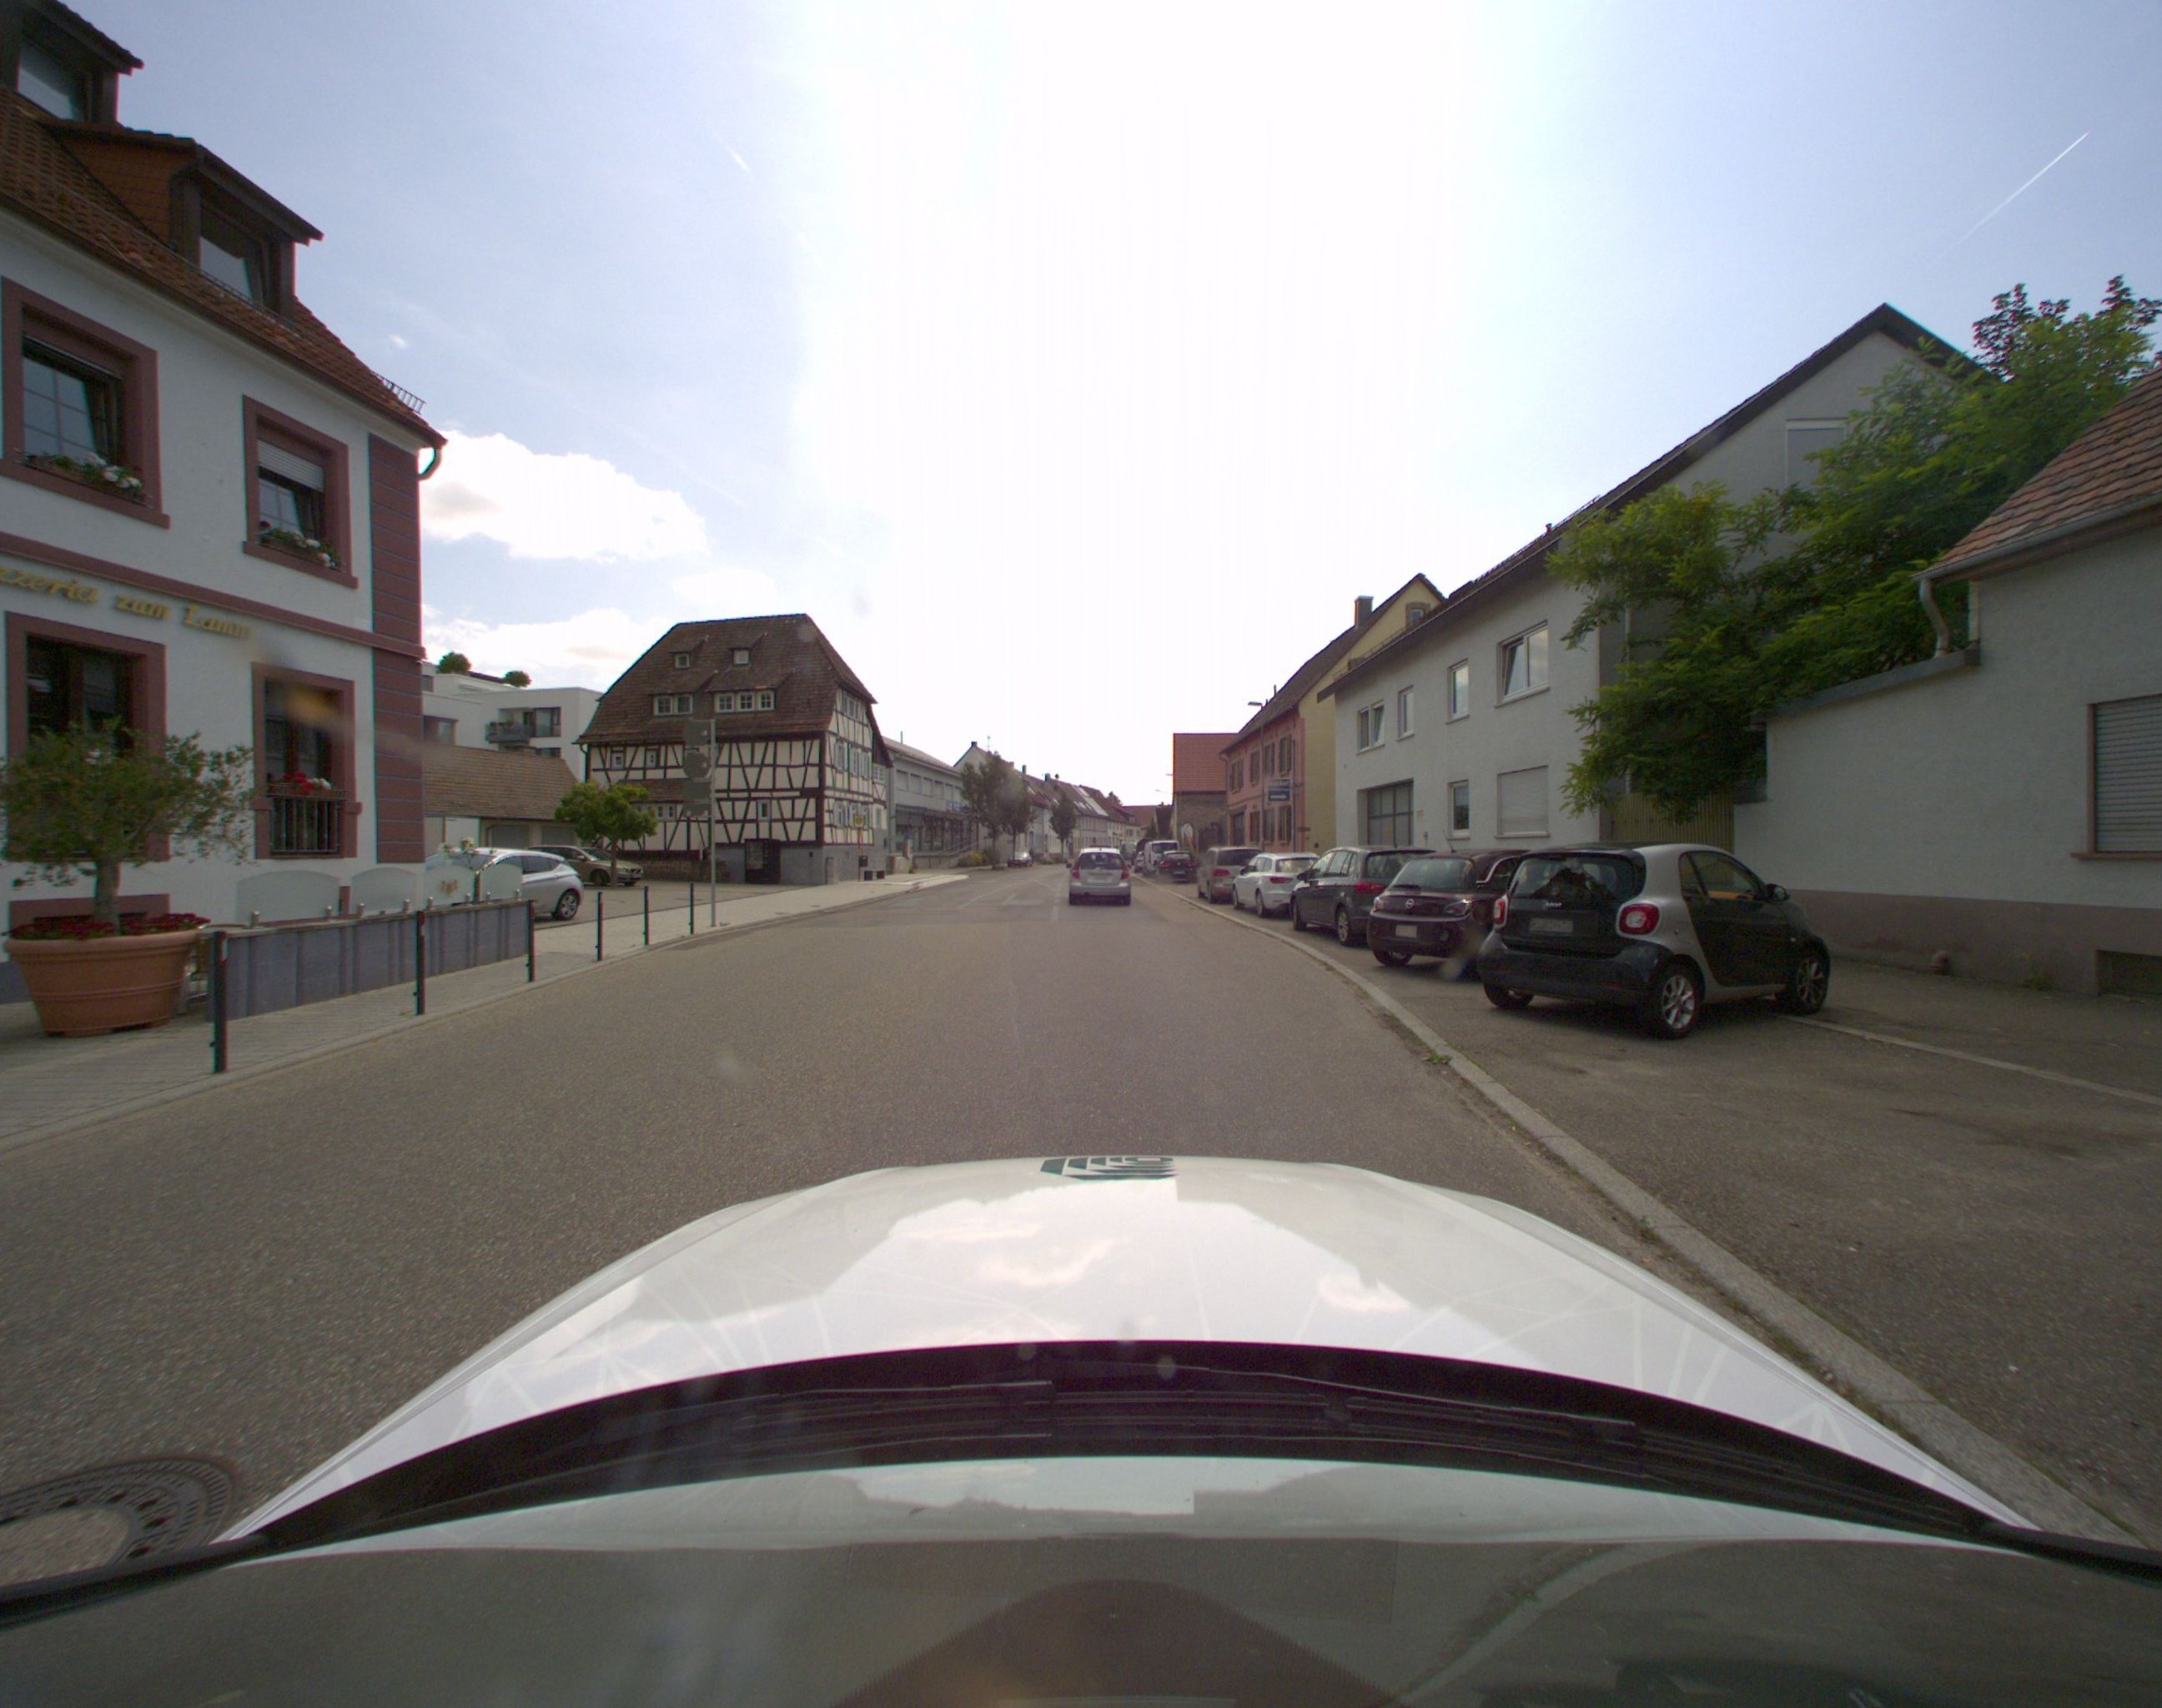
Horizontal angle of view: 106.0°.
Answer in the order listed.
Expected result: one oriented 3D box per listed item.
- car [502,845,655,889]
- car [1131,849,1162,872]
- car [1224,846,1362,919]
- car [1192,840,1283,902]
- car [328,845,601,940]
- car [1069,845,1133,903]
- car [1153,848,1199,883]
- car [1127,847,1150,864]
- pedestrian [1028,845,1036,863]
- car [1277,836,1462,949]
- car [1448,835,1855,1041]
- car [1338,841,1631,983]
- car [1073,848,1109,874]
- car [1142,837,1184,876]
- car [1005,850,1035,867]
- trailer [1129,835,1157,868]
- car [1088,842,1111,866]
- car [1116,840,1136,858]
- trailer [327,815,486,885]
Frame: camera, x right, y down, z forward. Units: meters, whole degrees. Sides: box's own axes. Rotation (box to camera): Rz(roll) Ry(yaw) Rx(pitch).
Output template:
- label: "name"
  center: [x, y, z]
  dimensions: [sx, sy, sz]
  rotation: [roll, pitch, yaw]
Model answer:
- label: "car"
  center: [-18.436, 0.445, 29.992]
  dimensions: [4.405, 1.389, 1.967]
  rotation: [2, 1, 5]
- label: "car"
  center: [4.439, 0.418, 55.495]
  dimensions: [1.868, 1.481, 4.676]
  rotation: [0, 0, 1]
- label: "car"
  center: [4.944, 0.601, 19.670]
  dimensions: [1.989, 1.517, 4.367]
  rotation: [-1, 0, -3]
- label: "car"
  center: [4.643, 0.464, 24.802]
  dimensions: [1.986, 1.680, 4.324]
  rotation: [-1, 0, 1]
- label: "car"
  center: [-11.551, 0.629, 15.727]
  dimensions: [1.750, 1.492, 4.280]
  rotation: [3, 1, 4]
- label: "car"
  center: [0.575, 0.553, 24.349]
  dimensions: [1.763, 1.594, 4.000]
  rotation: [0, 0, 0]
- label: "car"
  center: [4.393, 0.501, 38.221]
  dimensions: [1.768, 1.495, 4.163]
  rotation: [-1, 0, 1]
- label: "car"
  center: [5.641, 0.086, 80.087]
  dimensions: [1.987, 1.559, 4.000]
  rotation: [-2, 0, 0]
- label: "pedestrian"
  center: [-5.188, 0.017, 85.593]
  dimensions: [0.736, 1.801, 0.643]
  rotation: [-2, -1, 2]
- label: "car"
  center: [4.747, 0.546, 14.067]
  dimensions: [1.657, 1.624, 4.271]
  rotation: [-1, 0, 0]
- label: "car"
  center: [5.151, 0.610, 7.468]
  dimensions: [2.791, 1.504, 1.864]
  rotation: [-1, 0, -23]
- label: "car"
  center: [5.158, 0.621, 10.425]
  dimensions: [3.245, 1.504, 1.810]
  rotation: [-1, 0, -28]
- label: "car"
  center: [0.575, 0.386, 46.786]
  dimensions: [1.938, 1.407, 4.000]
  rotation: [-1, 1, 0]
- label: "car"
  center: [4.572, 0.124, 46.008]
  dimensions: [1.885, 1.982, 4.932]
  rotation: [-3, 0, 1]
- label: "car"
  center: [-5.466, 0.384, 73.642]
  dimensions: [1.794, 1.460, 4.168]
  rotation: [0, 0, 8]
- label: "trailer"
  center: [4.603, -0.206, 61.005]
  dimensions: [1.839, 2.354, 3.590]
  rotation: [-1, 0, 0]
- label: "car"
  center: [1.599, -0.005, 68.927]
  dimensions: [1.761, 1.888, 4.450]
  rotation: [2, 0, 3]
- label: "car"
  center: [5.832, -0.668, 105.240]
  dimensions: [2.225, 2.222, 4.006]
  rotation: [-2, -1, 6]
- label: "trailer"
  center: [-25.284, -0.151, 30.630]
  dimensions: [4.404, 2.425, 1.967]
  rotation: [1, 0, 5]
